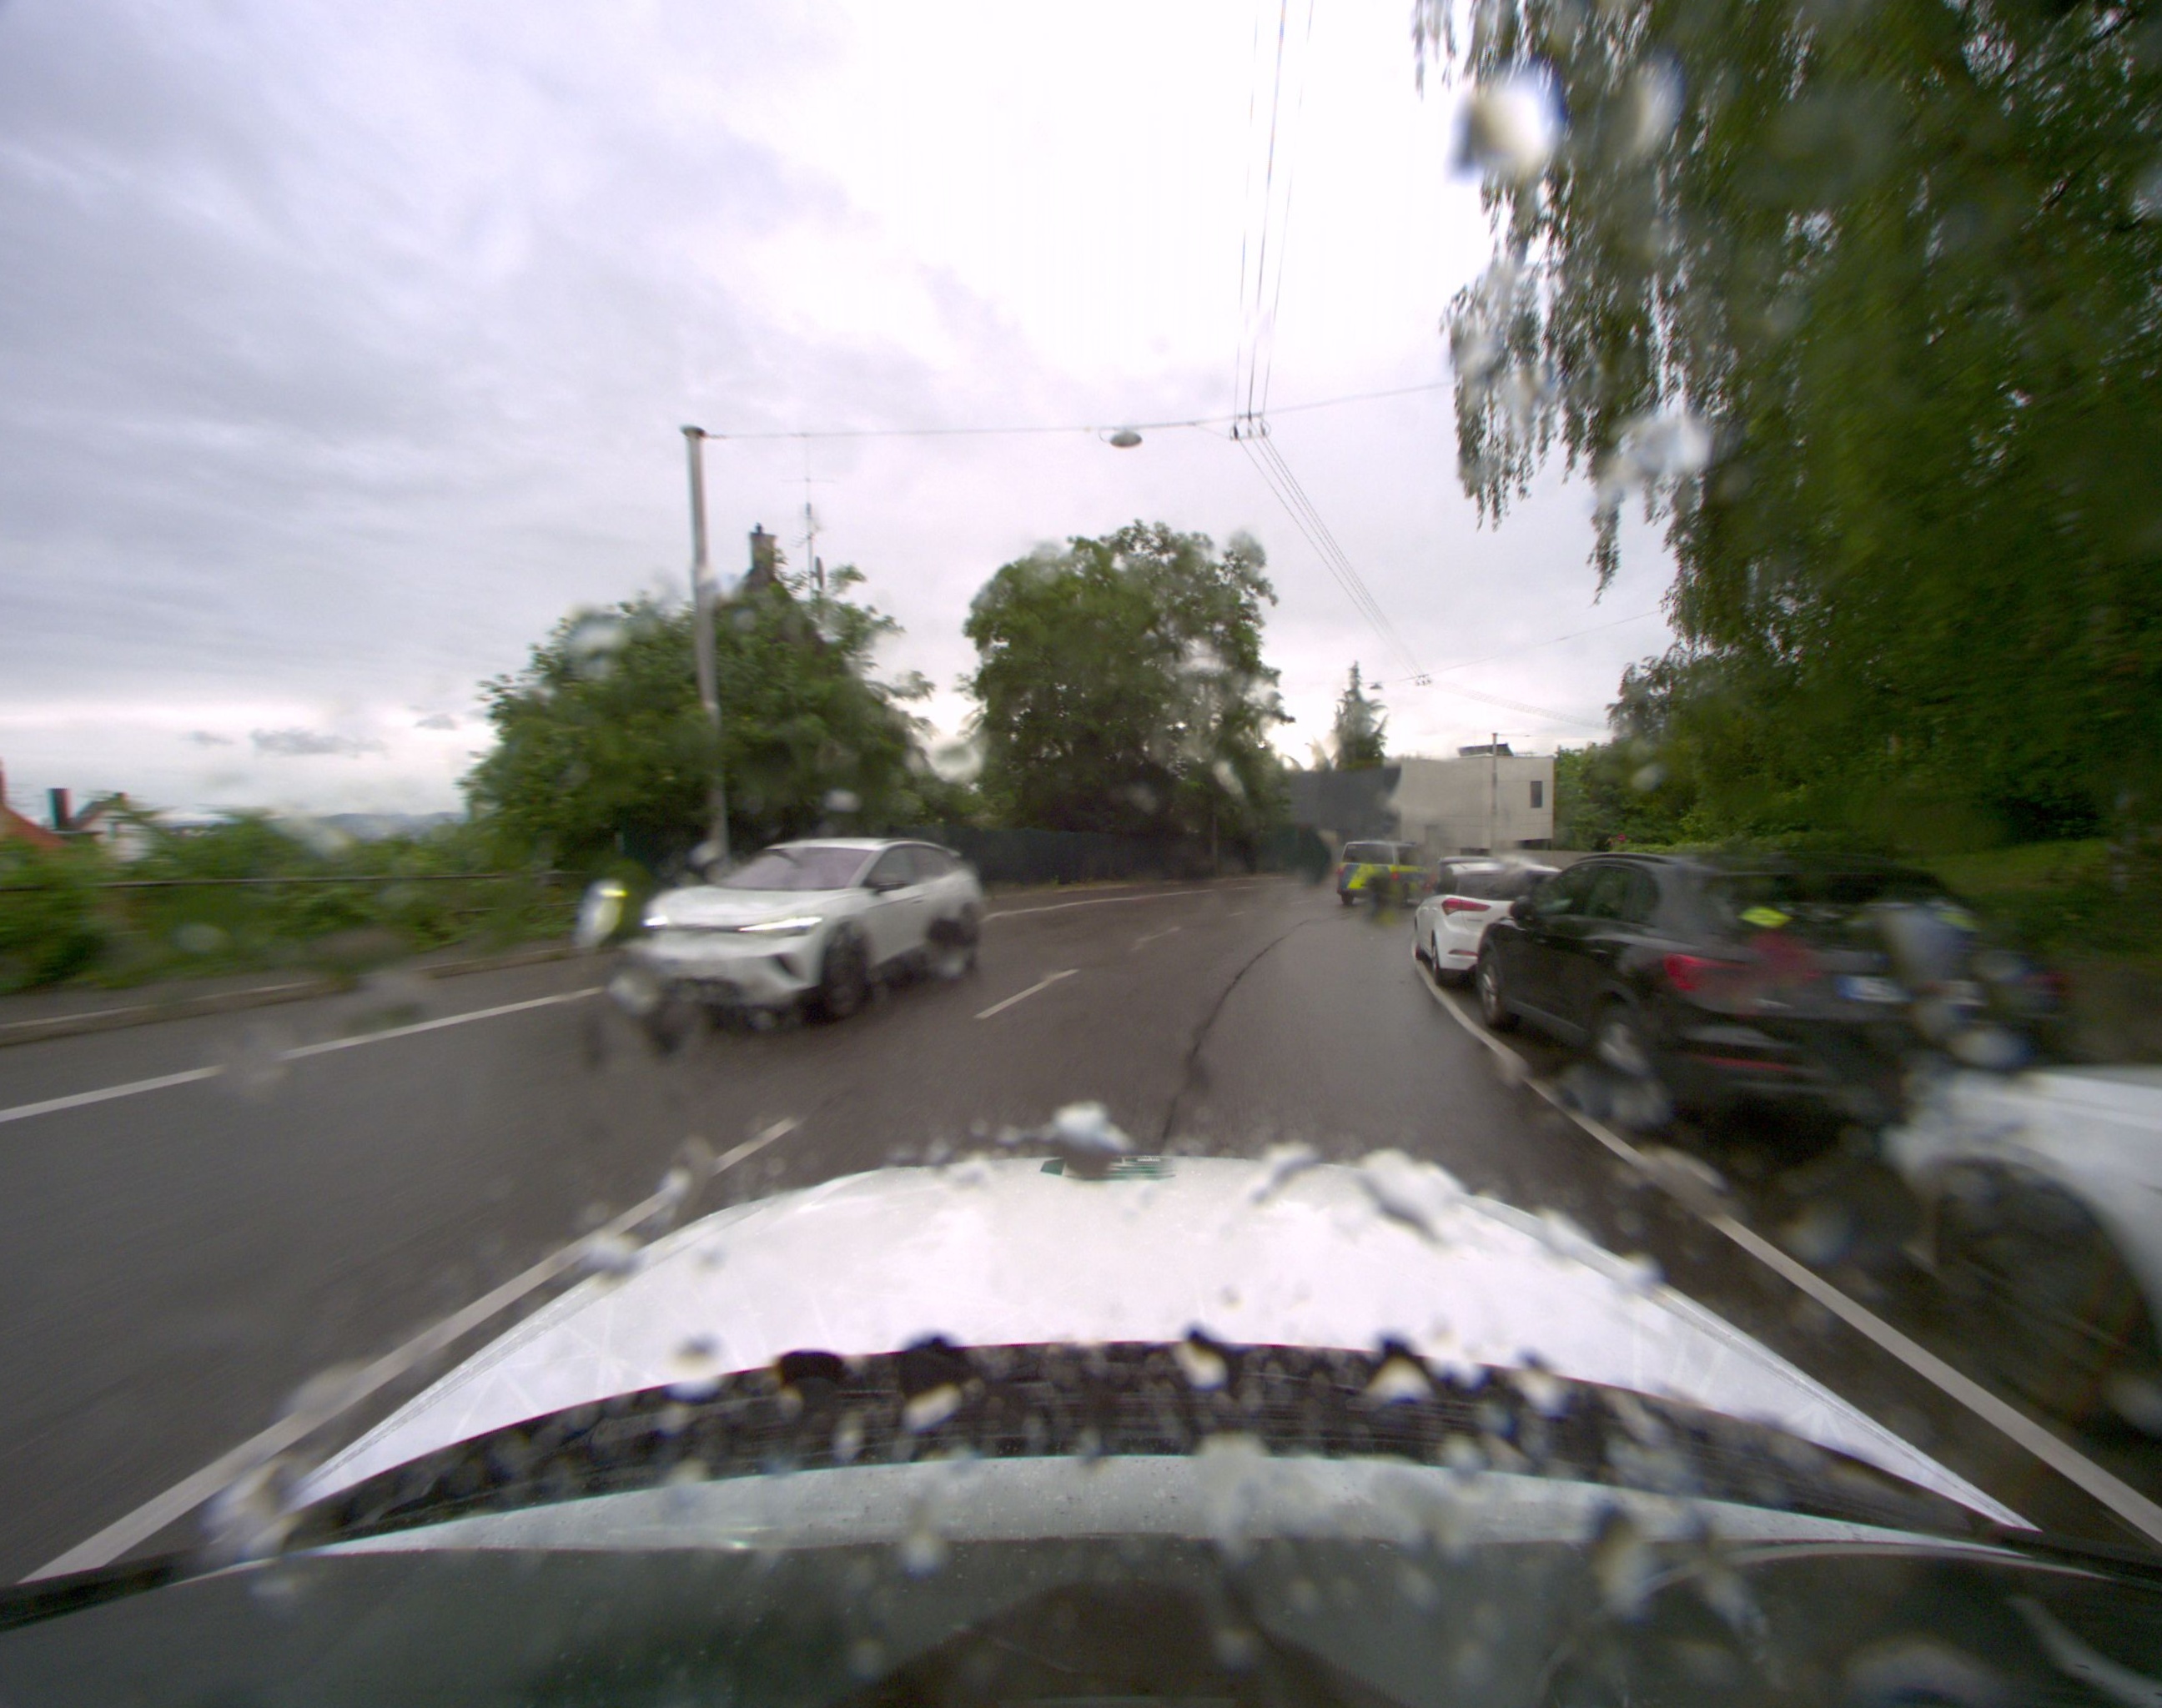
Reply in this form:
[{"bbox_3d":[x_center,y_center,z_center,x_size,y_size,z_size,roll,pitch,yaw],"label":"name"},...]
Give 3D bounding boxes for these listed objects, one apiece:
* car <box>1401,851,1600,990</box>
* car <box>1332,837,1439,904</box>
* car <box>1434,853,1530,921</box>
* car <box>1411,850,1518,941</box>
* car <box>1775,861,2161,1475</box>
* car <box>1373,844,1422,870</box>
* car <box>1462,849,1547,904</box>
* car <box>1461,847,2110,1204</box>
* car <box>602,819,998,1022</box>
[{"bbox_3d":[5.283,0.732,10.784,1.712,1.464,4.050,-2,-1,19],"label":"car"},{"bbox_3d":[9.687,0.494,25.686,1.974,1.893,4.599,2,0,36],"label":"car"},{"bbox_3d":[9.744,0.732,19.646,1.698,1.435,4.094,-2,-1,31],"label":"car"},{"bbox_3d":[7.272,0.704,15.471,1.605,1.505,3.626,-2,-1,25],"label":"car"},{"bbox_3d":[3.363,0.750,1.034,1.781,1.446,4.112,1,0,6],"label":"car"},{"bbox_3d":[18.556,0.146,47.887,1.880,1.301,4.011,2,2,9],"label":"car"},{"bbox_3d":[12.555,0.619,24.043,1.665,1.471,3.763,-2,-1,36],"label":"car"},{"bbox_3d":[4.070,0.717,5.758,1.613,1.519,4.342,0,0,12],"label":"car"},{"bbox_3d":[-2.571,0.528,8.752,1.812,1.607,4.304,-3,0,16],"label":"car"}]
